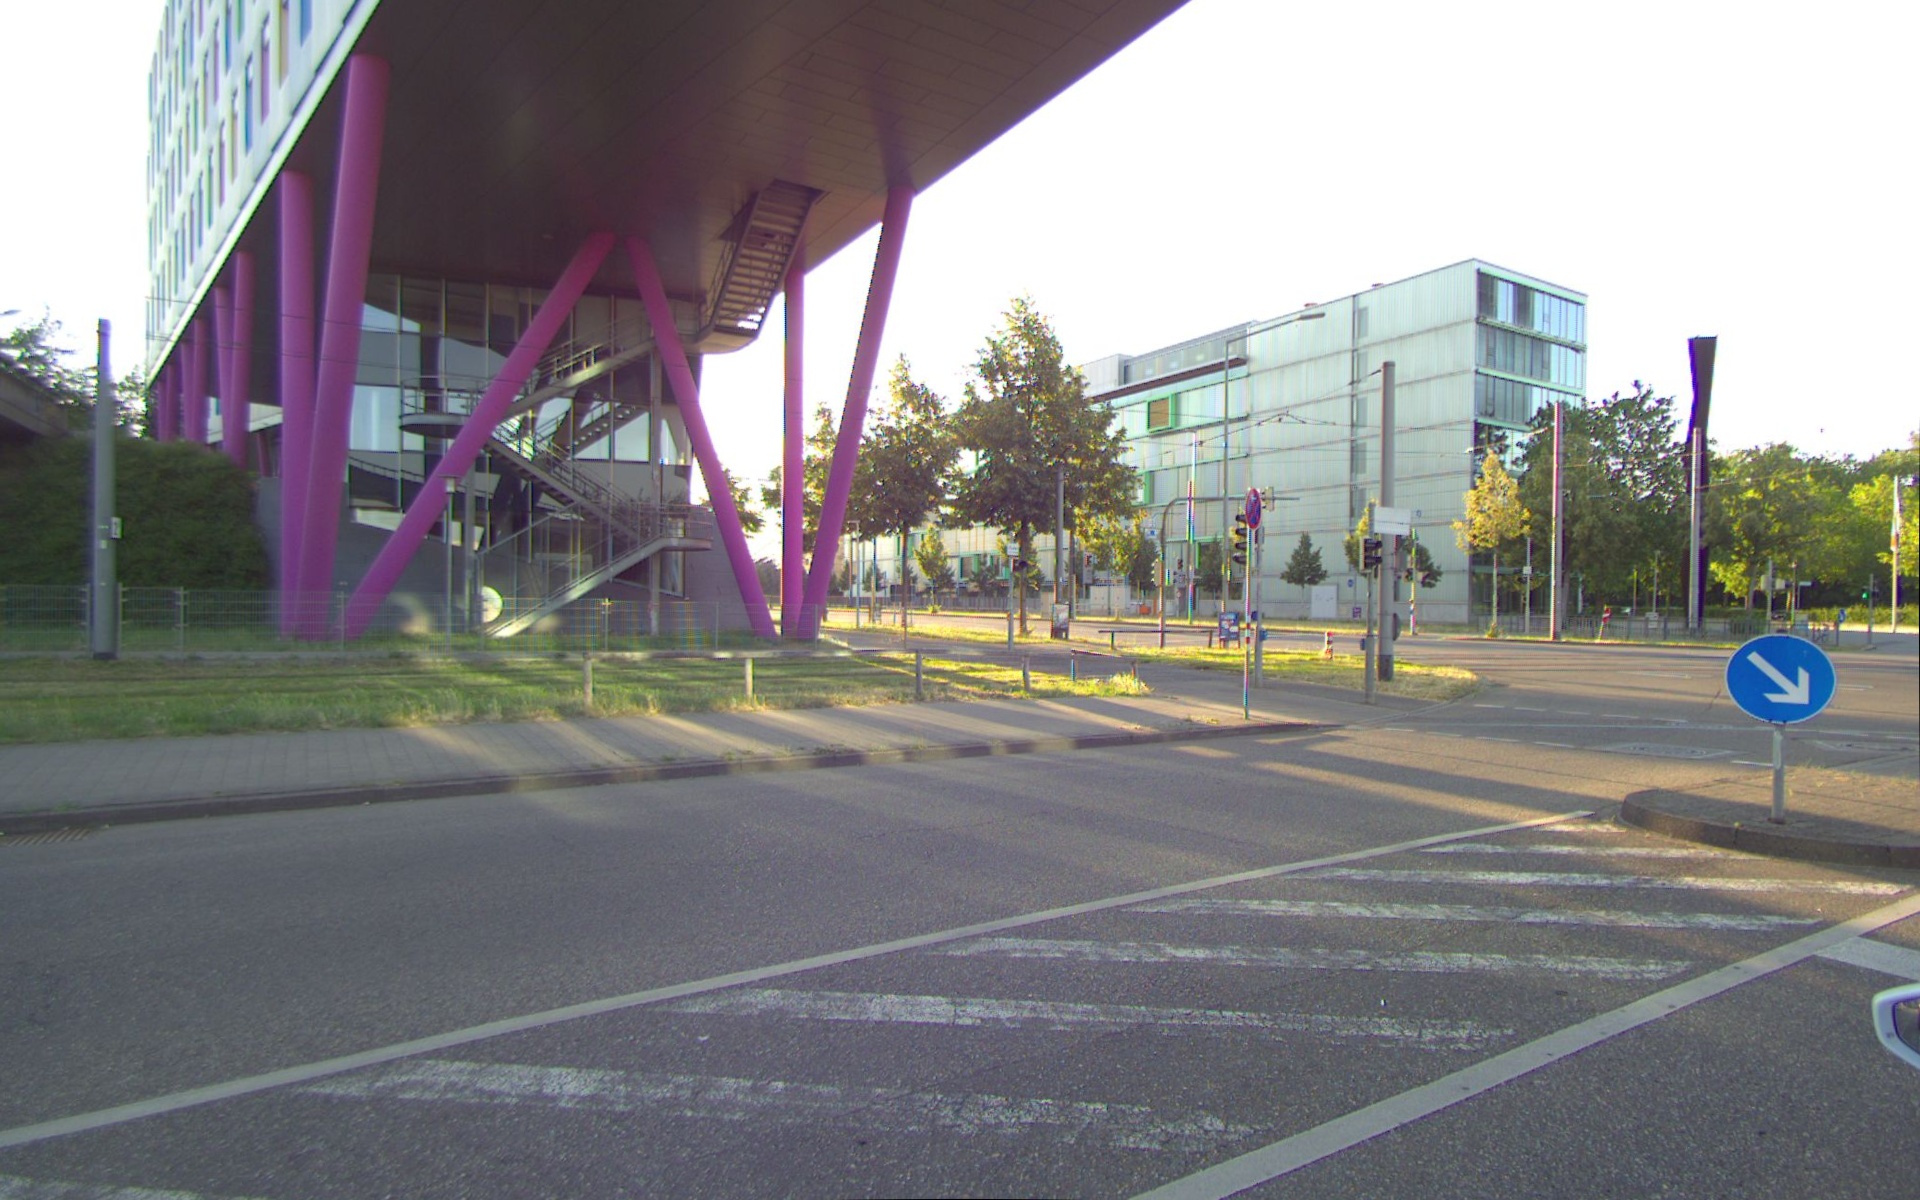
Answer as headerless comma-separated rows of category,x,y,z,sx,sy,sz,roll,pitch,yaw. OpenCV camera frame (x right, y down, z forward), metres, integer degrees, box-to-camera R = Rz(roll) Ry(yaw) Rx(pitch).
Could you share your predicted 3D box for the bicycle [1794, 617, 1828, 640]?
bicycle,43.815,1.475,51.712,2.367,1.151,0.695,1,0,-33
